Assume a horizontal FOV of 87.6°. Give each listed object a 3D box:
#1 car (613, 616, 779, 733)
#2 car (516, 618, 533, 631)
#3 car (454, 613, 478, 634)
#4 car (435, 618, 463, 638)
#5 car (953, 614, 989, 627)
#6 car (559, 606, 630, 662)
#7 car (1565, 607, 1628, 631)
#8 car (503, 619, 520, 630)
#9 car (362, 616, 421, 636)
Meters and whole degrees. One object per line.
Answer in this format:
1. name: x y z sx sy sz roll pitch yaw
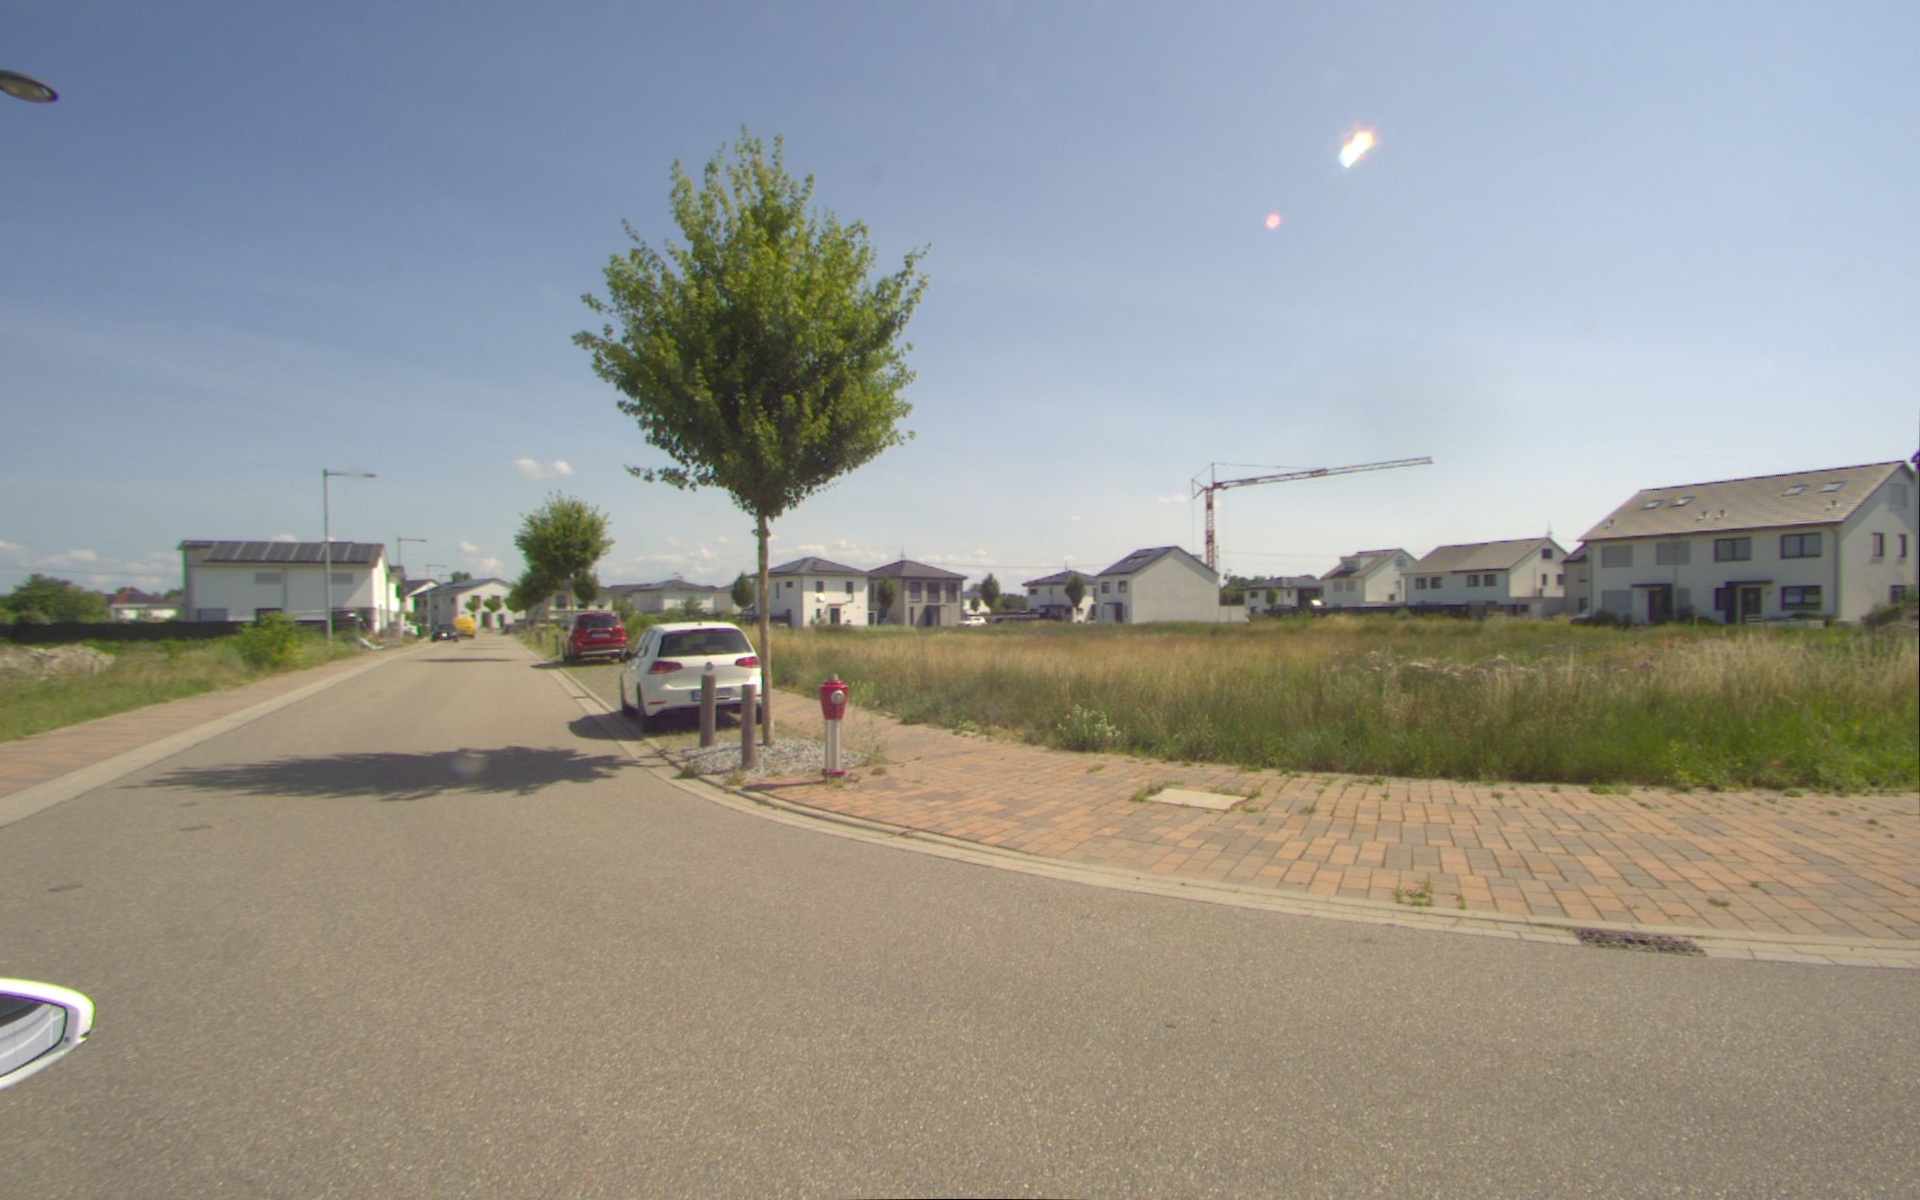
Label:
1. car: -4.166 1.002 15.326 1.752 1.439 4.150 -2 1 -25
2. car: -50.663 2.845 116.446 1.619 1.420 3.798 0 -2 -26
3. car: -47.351 2.279 95.898 1.919 2.007 4.198 0 -2 -29
4. car: -39.502 2.164 77.470 1.724 1.423 4.144 2 -2 -25
5. car: 1.249 2.345 114.146 3.954 1.416 1.737 0 -2 -39
6. car: -12.149 1.065 33.115 1.754 1.685 4.416 -2 0 -26
7. car: 44.580 1.326 70.133 3.933 1.594 1.810 0 -1 -22
8. car: -59.498 3.313 132.780 1.610 1.339 3.814 0 -3 -31
9. car: -48.163 2.173 84.892 4.012 1.602 1.780 1 0 -20
